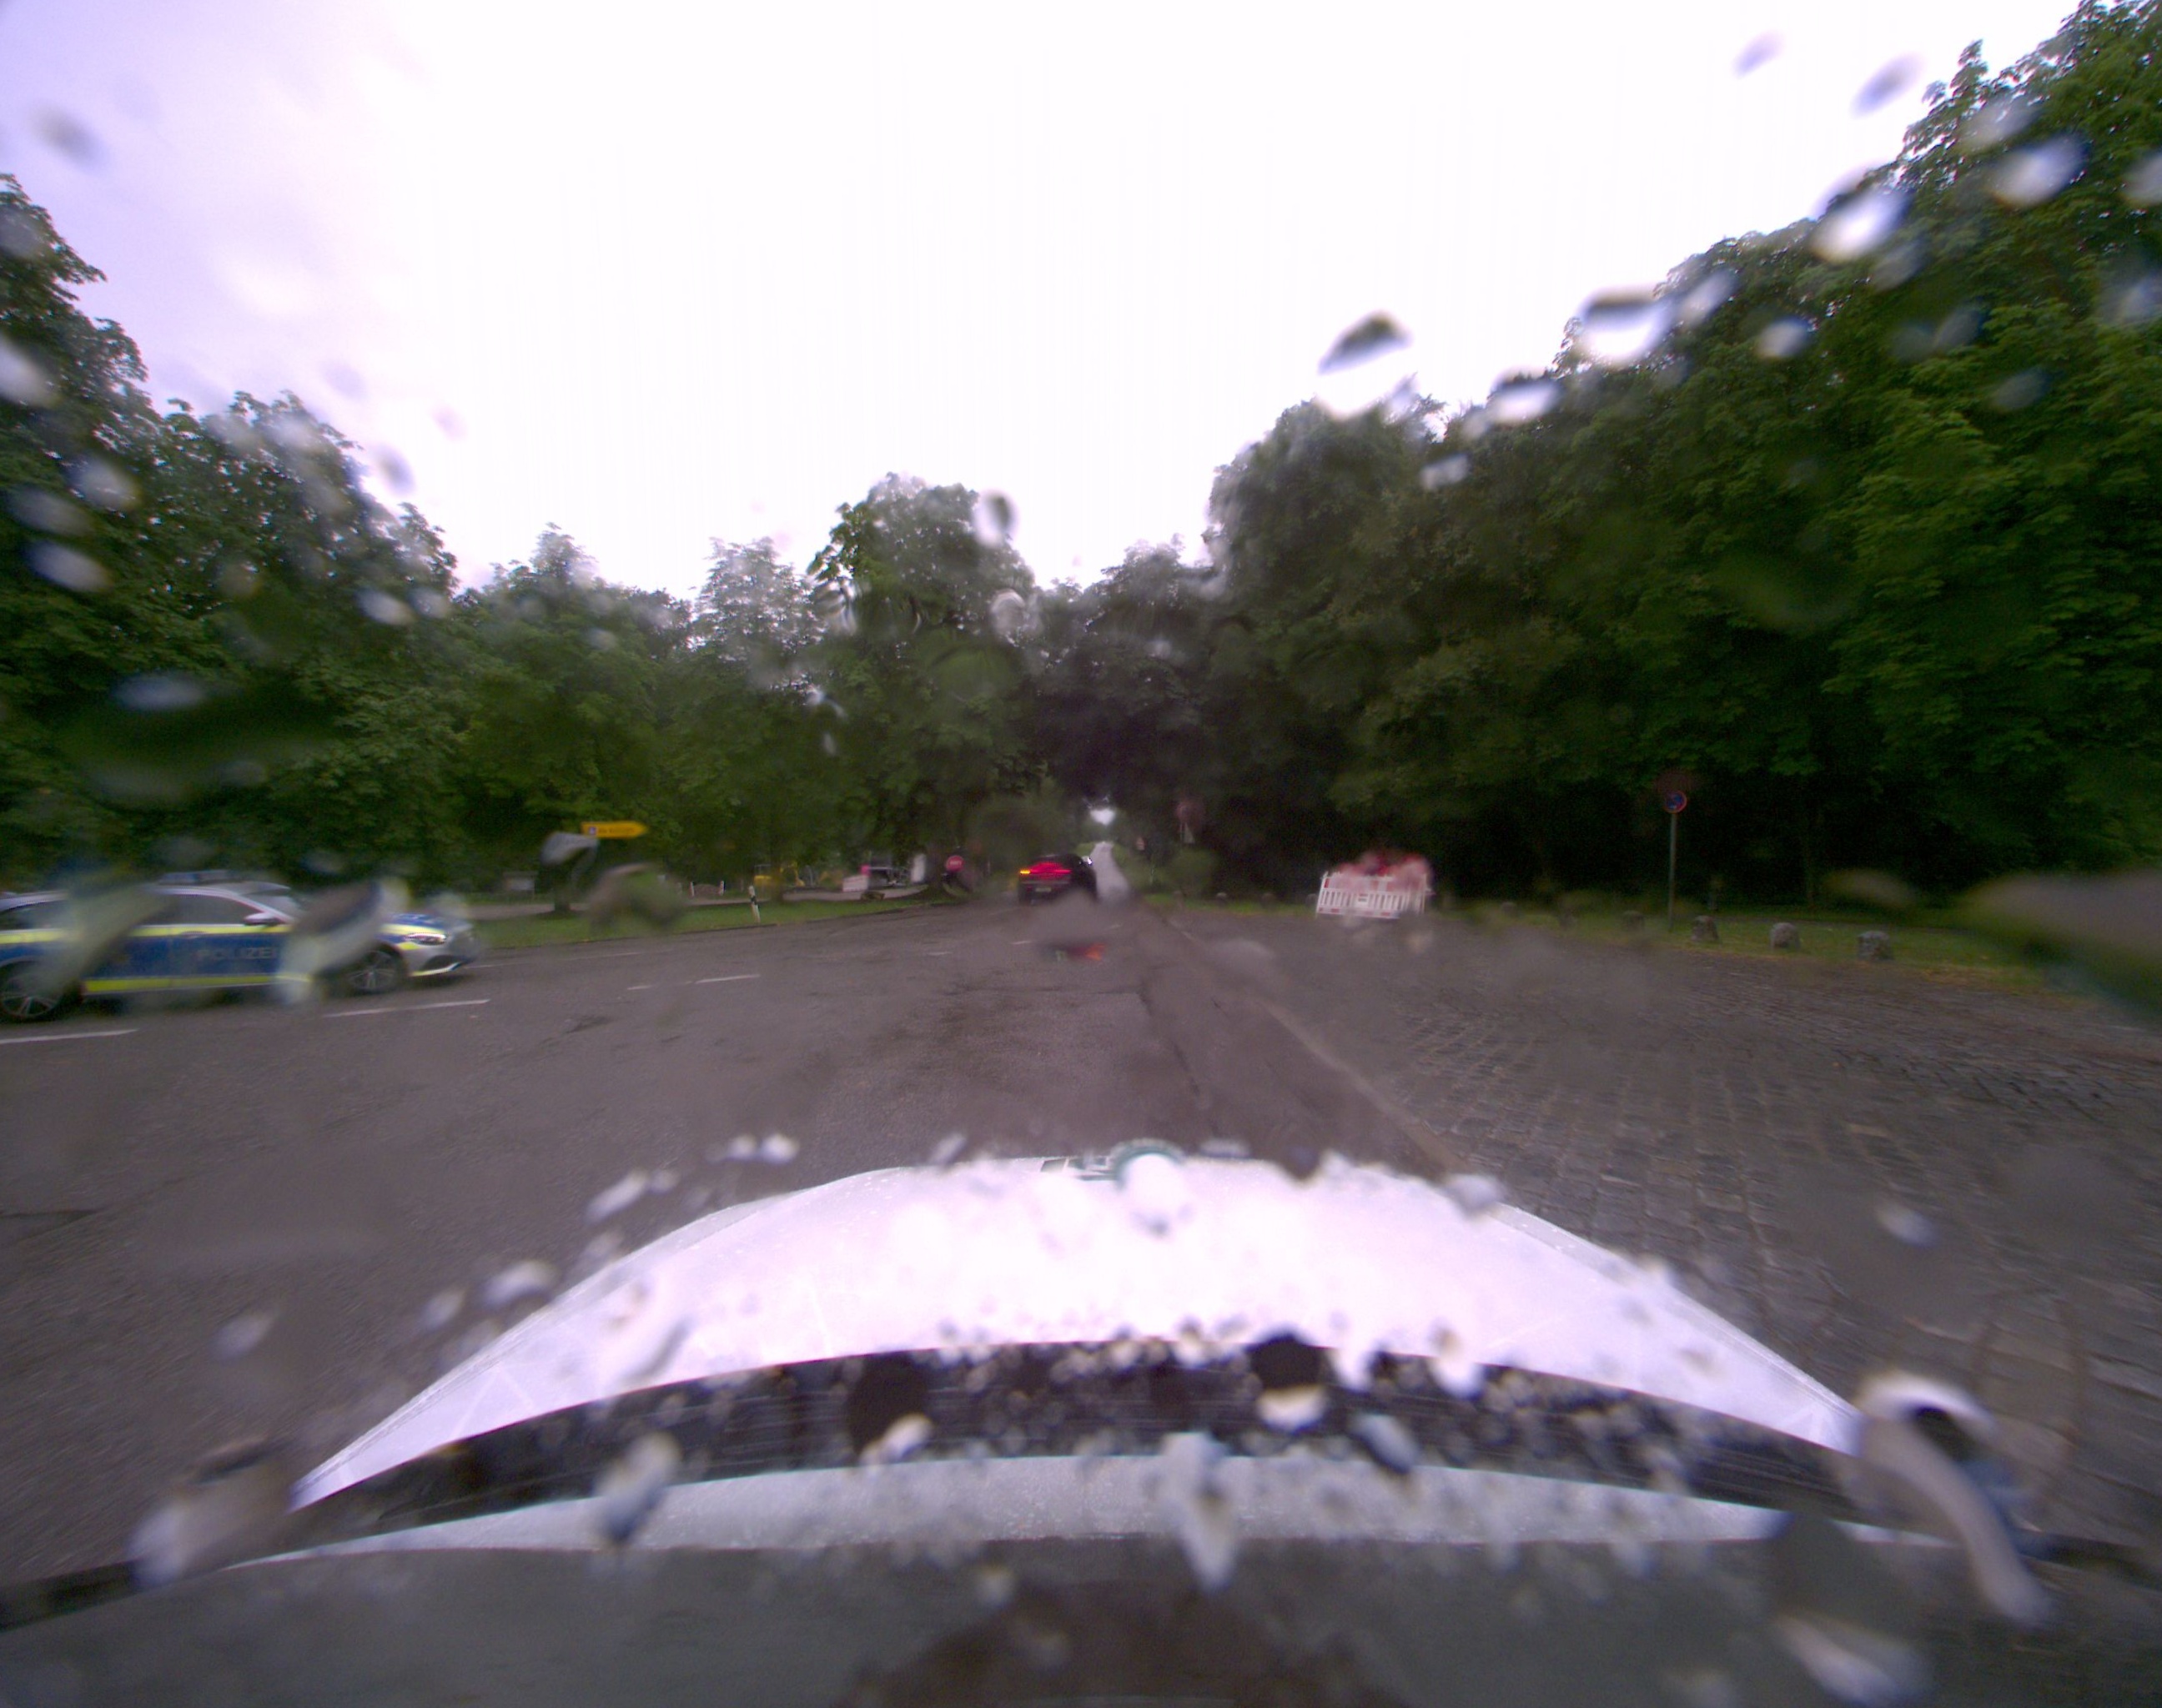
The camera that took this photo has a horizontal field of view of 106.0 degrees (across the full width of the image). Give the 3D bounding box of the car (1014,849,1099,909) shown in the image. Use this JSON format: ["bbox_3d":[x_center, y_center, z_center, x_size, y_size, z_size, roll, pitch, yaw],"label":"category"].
[{"bbox_3d":[-0.696,0.754,27.029,1.714,1.708,4.590,-2,0,12],"label":"car"}]

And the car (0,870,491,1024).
[{"bbox_3d":[-10.744,1.066,10.385,4.905,1.600,1.719,-1,0,-21],"label":"car"}]

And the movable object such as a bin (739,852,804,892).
[{"bbox_3d":[-27.330,1.568,72.166,4.654,3.294,3.901,-1,-1,-9],"label":"movable object such as a bin"}]

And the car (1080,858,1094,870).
[{"bbox_3d":[0.942,1.436,121.971,1.986,1.717,4.002,-1,0,2],"label":"car"}]

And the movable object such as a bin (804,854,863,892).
[{"bbox_3d":[-22.278,1.676,73.694,4.581,3.294,3.654,-1,-1,-10],"label":"movable object such as a bin"}]

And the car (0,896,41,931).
[{"bbox_3d":[-52.872,2.898,39.436,3.953,1.585,2.010,-1,0,21],"label":"car"}]
